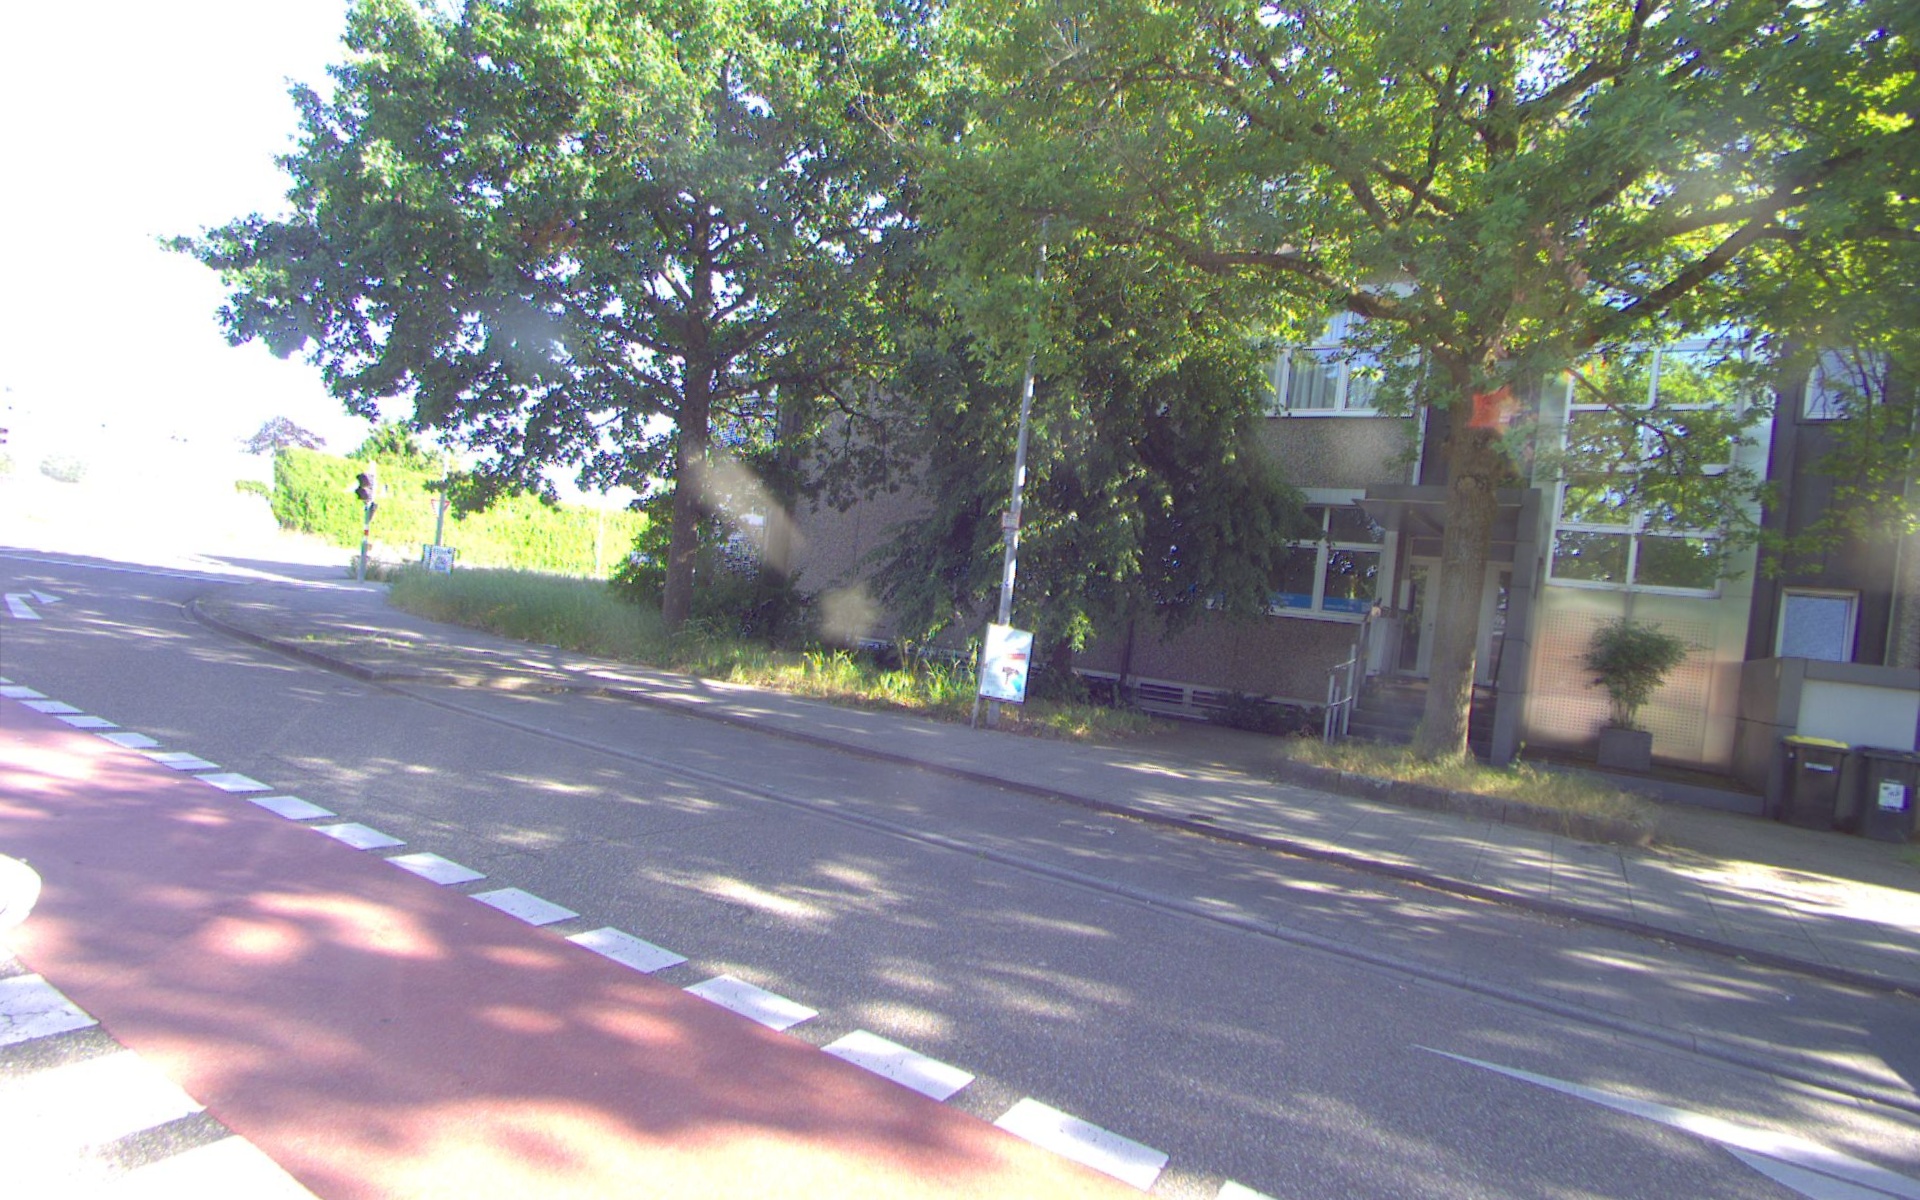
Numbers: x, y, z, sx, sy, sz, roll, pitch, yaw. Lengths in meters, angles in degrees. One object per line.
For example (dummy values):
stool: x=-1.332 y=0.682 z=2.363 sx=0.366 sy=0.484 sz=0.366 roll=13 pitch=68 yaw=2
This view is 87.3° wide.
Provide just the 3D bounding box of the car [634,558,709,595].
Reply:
car: x=-15.820 y=-1.271 z=55.433 sx=1.691 sy=1.627 sz=4.065 roll=8 pitch=1 yaw=22

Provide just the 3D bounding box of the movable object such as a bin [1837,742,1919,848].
movable object such as a bin: x=10.761 y=2.255 z=11.720 sx=0.605 sy=1.075 sz=0.634 roll=6 pitch=0 yaw=30

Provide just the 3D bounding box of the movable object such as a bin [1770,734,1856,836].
movable object such as a bin: x=10.172 y=2.187 z=12.013 sx=0.575 sy=1.070 sz=0.625 roll=7 pitch=0 yaw=30
